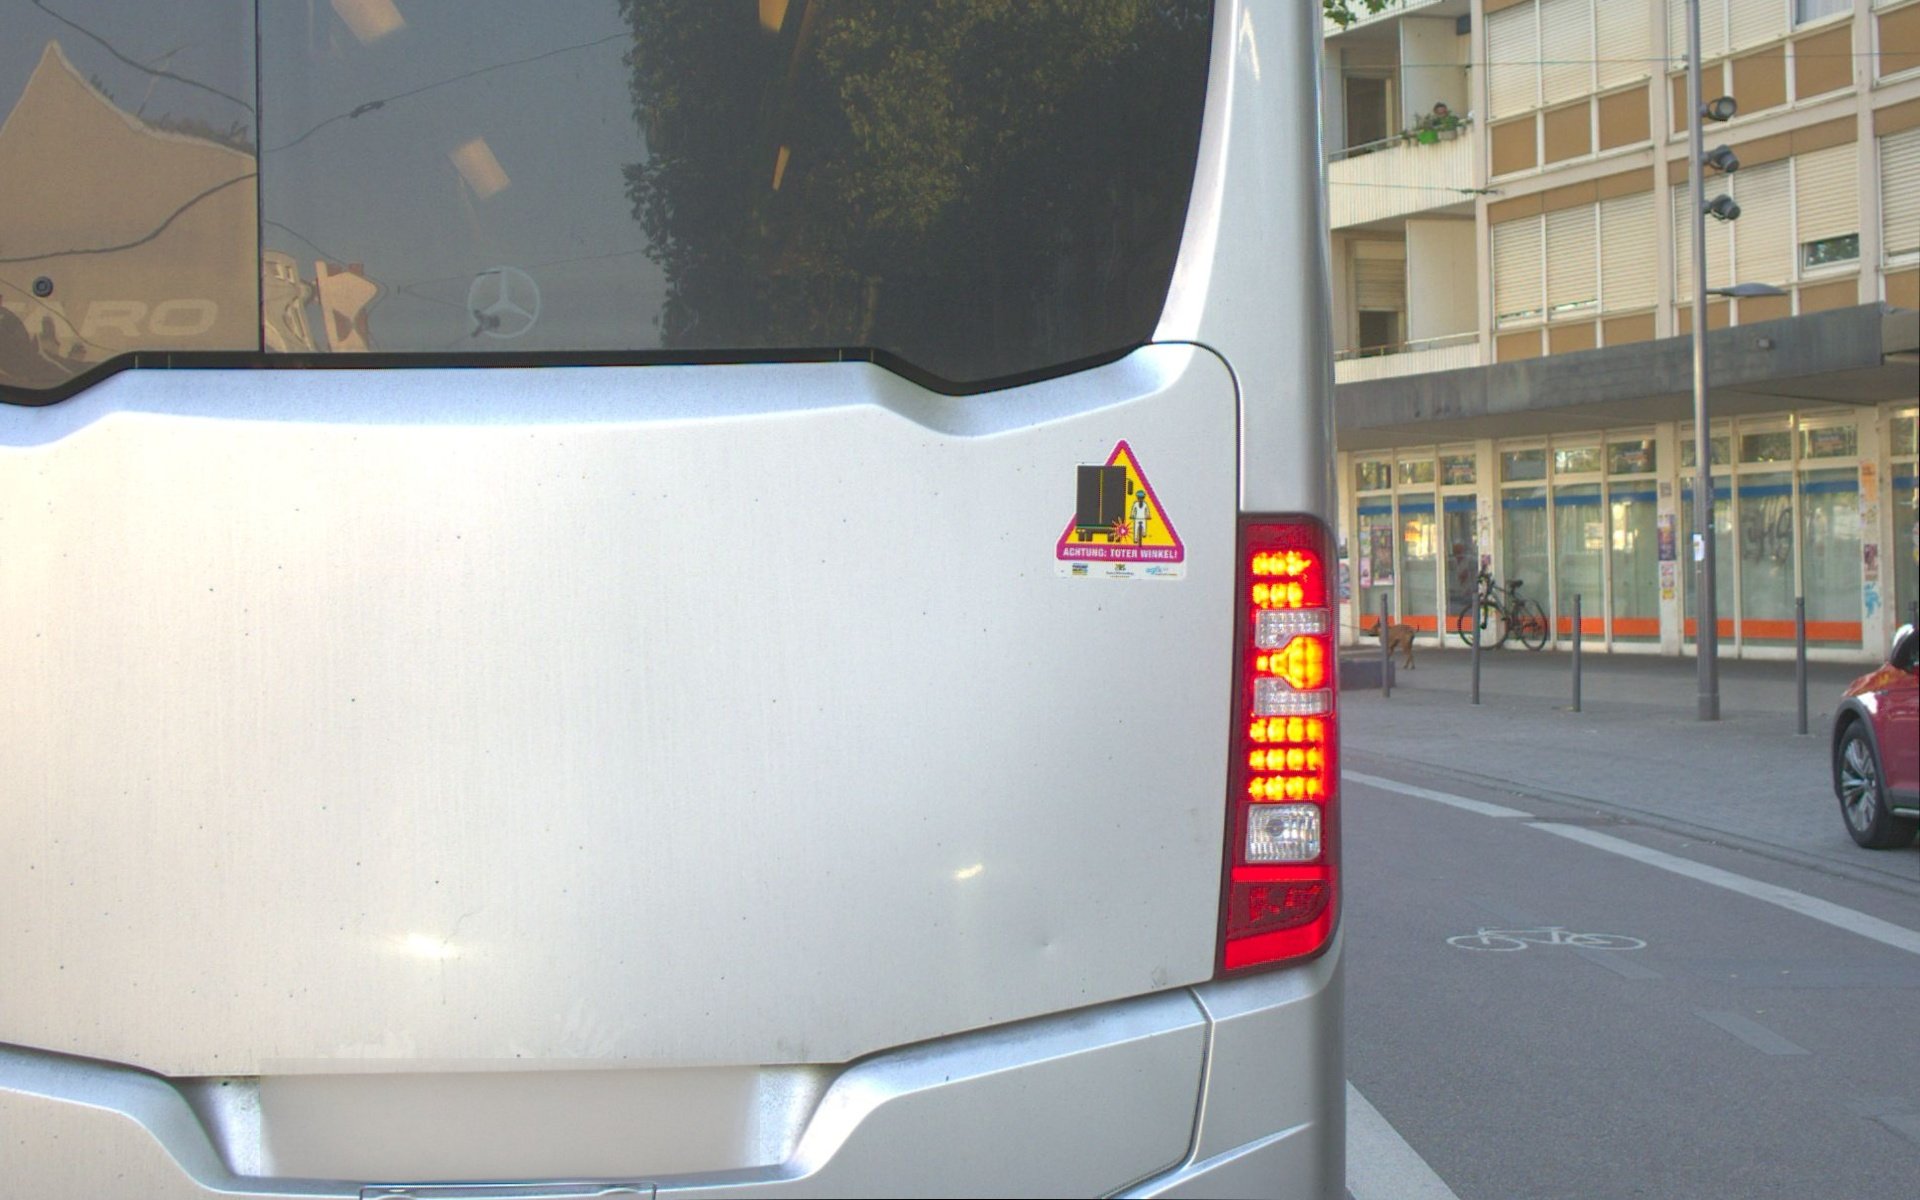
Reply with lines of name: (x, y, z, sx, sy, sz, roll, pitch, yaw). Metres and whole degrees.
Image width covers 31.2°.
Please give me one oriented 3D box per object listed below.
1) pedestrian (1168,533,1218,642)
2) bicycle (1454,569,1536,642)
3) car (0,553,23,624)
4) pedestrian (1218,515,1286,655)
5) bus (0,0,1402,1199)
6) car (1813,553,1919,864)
pedestrian: (3.558, -0.190, 52.463, 0.535, 1.643, 0.616, -1, 1, -17)
bicycle: (7.097, 0.067, 45.646, 0.412, 0.941, 1.441, -1, 1, -20)
car: (-25.878, -0.315, 88.208, 1.994, 1.785, 3.998, 1, 0, -41)
pedestrian: (3.608, -0.186, 42.549, 0.645, 1.711, 0.560, -1, 1, -16)
bus: (-0.765, -0.139, 9.802, 2.630, 3.017, 9.998, 0, 1, -1)
car: (5.524, 0.504, 15.875, 1.769, 1.477, 4.304, -2, 1, -4)
